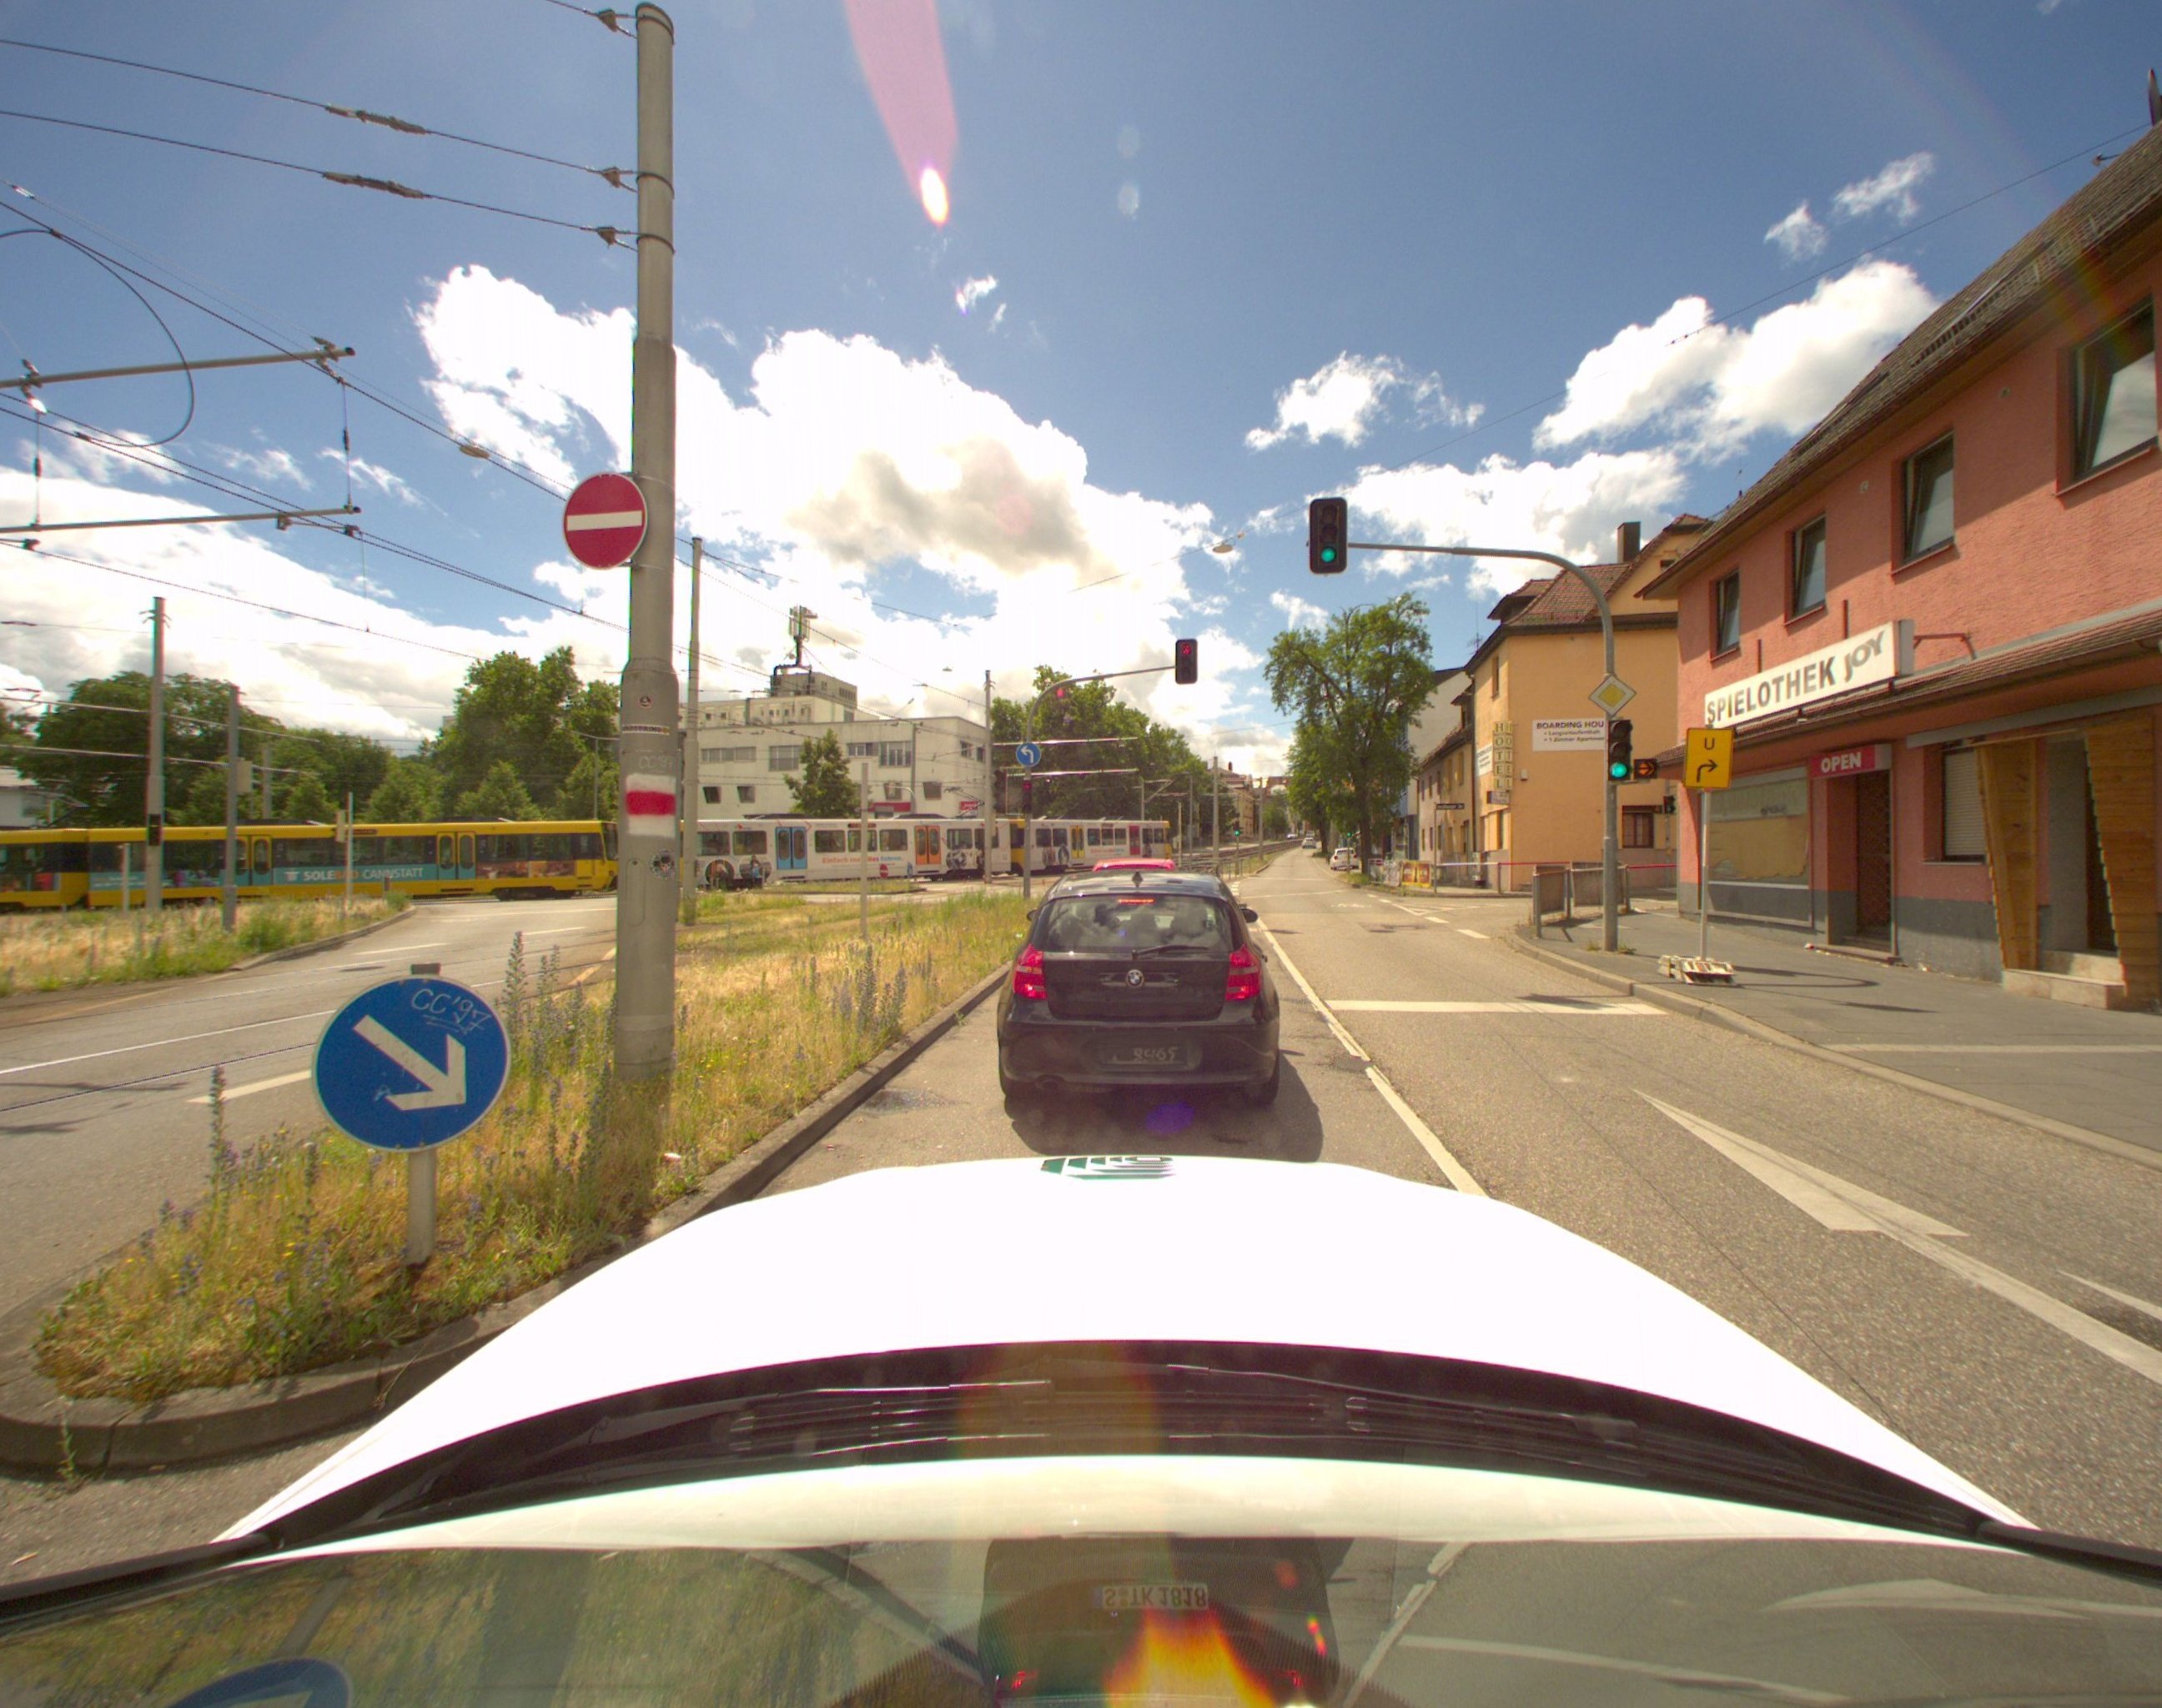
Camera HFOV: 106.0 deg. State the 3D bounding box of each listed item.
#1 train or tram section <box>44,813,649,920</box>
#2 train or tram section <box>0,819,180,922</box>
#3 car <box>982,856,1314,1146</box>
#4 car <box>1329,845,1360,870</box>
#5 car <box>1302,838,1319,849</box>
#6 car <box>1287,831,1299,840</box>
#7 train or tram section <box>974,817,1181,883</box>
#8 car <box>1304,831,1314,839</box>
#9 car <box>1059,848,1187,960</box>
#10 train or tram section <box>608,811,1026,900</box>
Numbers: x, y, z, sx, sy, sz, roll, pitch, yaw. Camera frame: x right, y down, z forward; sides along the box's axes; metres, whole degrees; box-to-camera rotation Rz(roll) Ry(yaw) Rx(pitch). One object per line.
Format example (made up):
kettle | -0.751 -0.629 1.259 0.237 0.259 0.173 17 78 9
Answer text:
train or tram section | -30.289 0.393 35.236 20.101 3.829 3.745 -1 -1 -13
train or tram section | -48.591 0.911 34.400 18.737 3.919 3.768 -2 -1 6
car | 0.341 0.794 6.248 1.696 1.452 3.999 -2 -1 0
car | 17.936 0.220 55.586 1.774 1.596 4.016 -2 -1 15
car | 33.135 -1.500 117.516 1.799 1.468 4.021 -1 0 21
car | 48.647 -4.247 186.921 1.976 2.014 4.022 -2 -1 23
train or tram section | 0.675 -0.230 56.616 3.713 3.814 20.179 -2 -1 33
car | 57.683 -4.787 206.025 1.976 2.014 4.022 -2 -1 23
car | 0.813 0.699 12.920 1.616 1.473 4.009 -2 -1 8
train or tram section | -12.771 -0.046 42.836 20.721 3.879 3.721 -1 -1 -35
